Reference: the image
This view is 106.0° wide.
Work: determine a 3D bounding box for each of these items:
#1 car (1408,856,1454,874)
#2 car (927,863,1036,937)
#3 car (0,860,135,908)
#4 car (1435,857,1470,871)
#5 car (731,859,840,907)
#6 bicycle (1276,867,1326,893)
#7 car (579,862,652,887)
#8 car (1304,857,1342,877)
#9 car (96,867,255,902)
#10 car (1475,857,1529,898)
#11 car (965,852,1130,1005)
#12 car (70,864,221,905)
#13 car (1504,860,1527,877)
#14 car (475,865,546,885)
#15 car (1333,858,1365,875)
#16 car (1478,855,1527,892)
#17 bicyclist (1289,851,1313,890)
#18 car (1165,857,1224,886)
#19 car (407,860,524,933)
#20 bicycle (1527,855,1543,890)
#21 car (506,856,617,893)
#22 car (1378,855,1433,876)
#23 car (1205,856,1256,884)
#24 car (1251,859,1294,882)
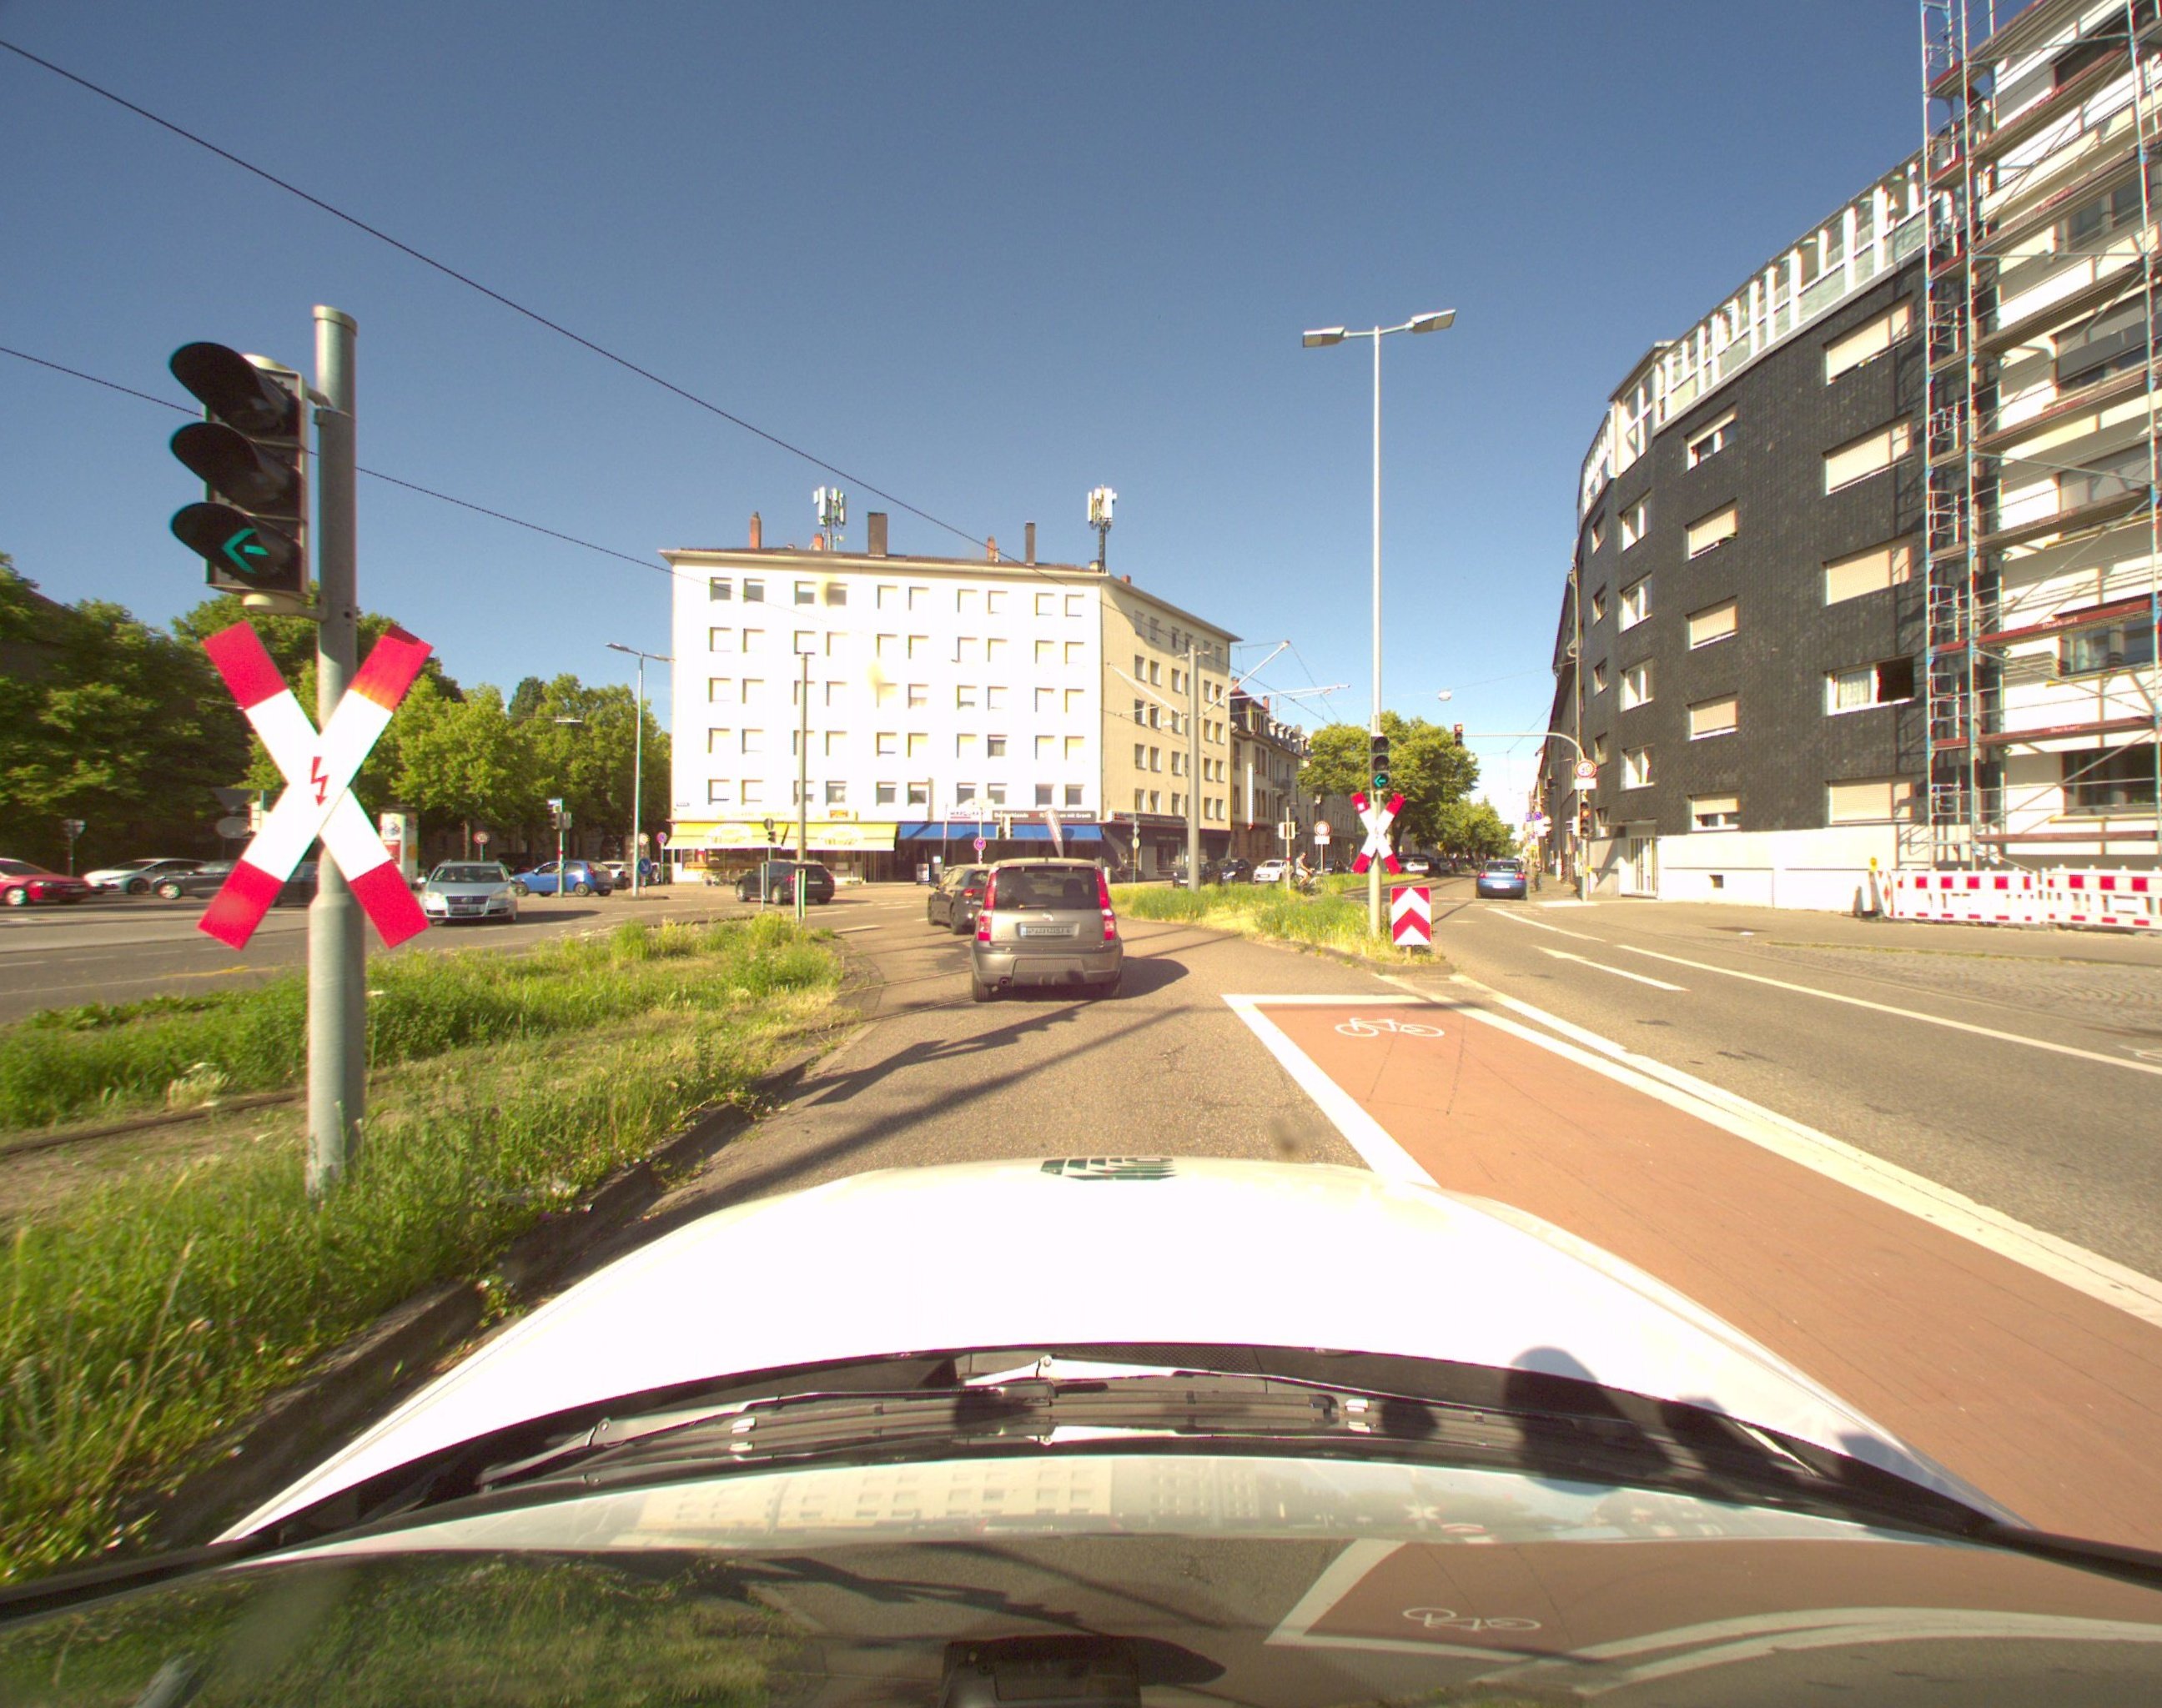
[{"bbox_3d":[34.587,1.057,80.439,3.771,1.786,1.852,0,-1,41],"label":"car"},{"bbox_3d":[-2.274,0.918,17.817,1.626,1.429,3.664,0,0,-19],"label":"car"},{"bbox_3d":[-33.986,0.940,26.172,4.530,1.489,1.749,0,-1,-11],"label":"car"},{"bbox_3d":[48.761,1.277,106.853,3.771,1.786,1.852,0,-1,41],"label":"car"},{"bbox_3d":[-10.138,0.926,27.753,4.239,1.486,1.776,0,-1,43],"label":"car"},{"bbox_3d":[8.804,1.033,32.574,1.843,1.032,0.590,0,-1,3],"label":"bicycle"},{"bbox_3d":[-25.505,1.101,44.775,1.991,1.310,3.992,0,0,-6],"label":"car"},{"bbox_3d":[19.164,1.010,64.452,1.974,1.473,4.025,0,0,31],"label":"car"},{"bbox_3d":[-33.324,1.100,30.080,3.615,1.253,1.690,0,0,-11],"label":"car"},{"bbox_3d":[16.166,0.859,31.338,1.758,1.442,3.640,0,0,27],"label":"car"},{"bbox_3d":[-0.435,0.750,9.774,1.657,1.510,3.247,0,0,-4],"label":"car"},{"bbox_3d":[-40.636,1.275,35.555,1.756,1.617,4.222,0,0,-3],"label":"car"},{"bbox_3d":[43.255,1.437,81.061,1.975,1.618,4.024,0,-2,29],"label":"car"},{"bbox_3d":[-37.146,1.344,53.099,1.646,1.190,3.465,0,-1,36],"label":"car"},{"bbox_3d":[24.465,1.111,74.213,1.974,1.487,4.025,0,0,31],"label":"car"},{"bbox_3d":[18.500,0.829,35.728,1.802,1.508,4.024,-1,0,28],"label":"car"},{"bbox_3d":[8.789,0.652,32.579,0.817,1.559,0.562,0,-1,3],"label":"bicyclist"},{"bbox_3d":[5.922,0.871,42.124,1.773,1.396,3.748,0,0,29],"label":"car"},{"bbox_3d":[-14.641,0.920,19.614,1.740,1.442,4.834,2,0,-32],"label":"car"},{"bbox_3d":[20.431,0.805,36.674,0.568,1.511,2.824,0,-1,28],"label":"bicycle"},{"bbox_3d":[-20.713,0.791,32.564,3.373,1.438,1.651,0,-1,0],"label":"car"},{"bbox_3d":[25.061,0.887,63.025,1.910,1.594,3.975,0,0,-18],"label":"car"},{"bbox_3d":[8.738,0.914,47.308,1.773,1.565,3.789,0,0,29],"label":"car"},{"bbox_3d":[12.536,1.048,53.215,1.773,1.483,3.553,0,0,29],"label":"car"}]
